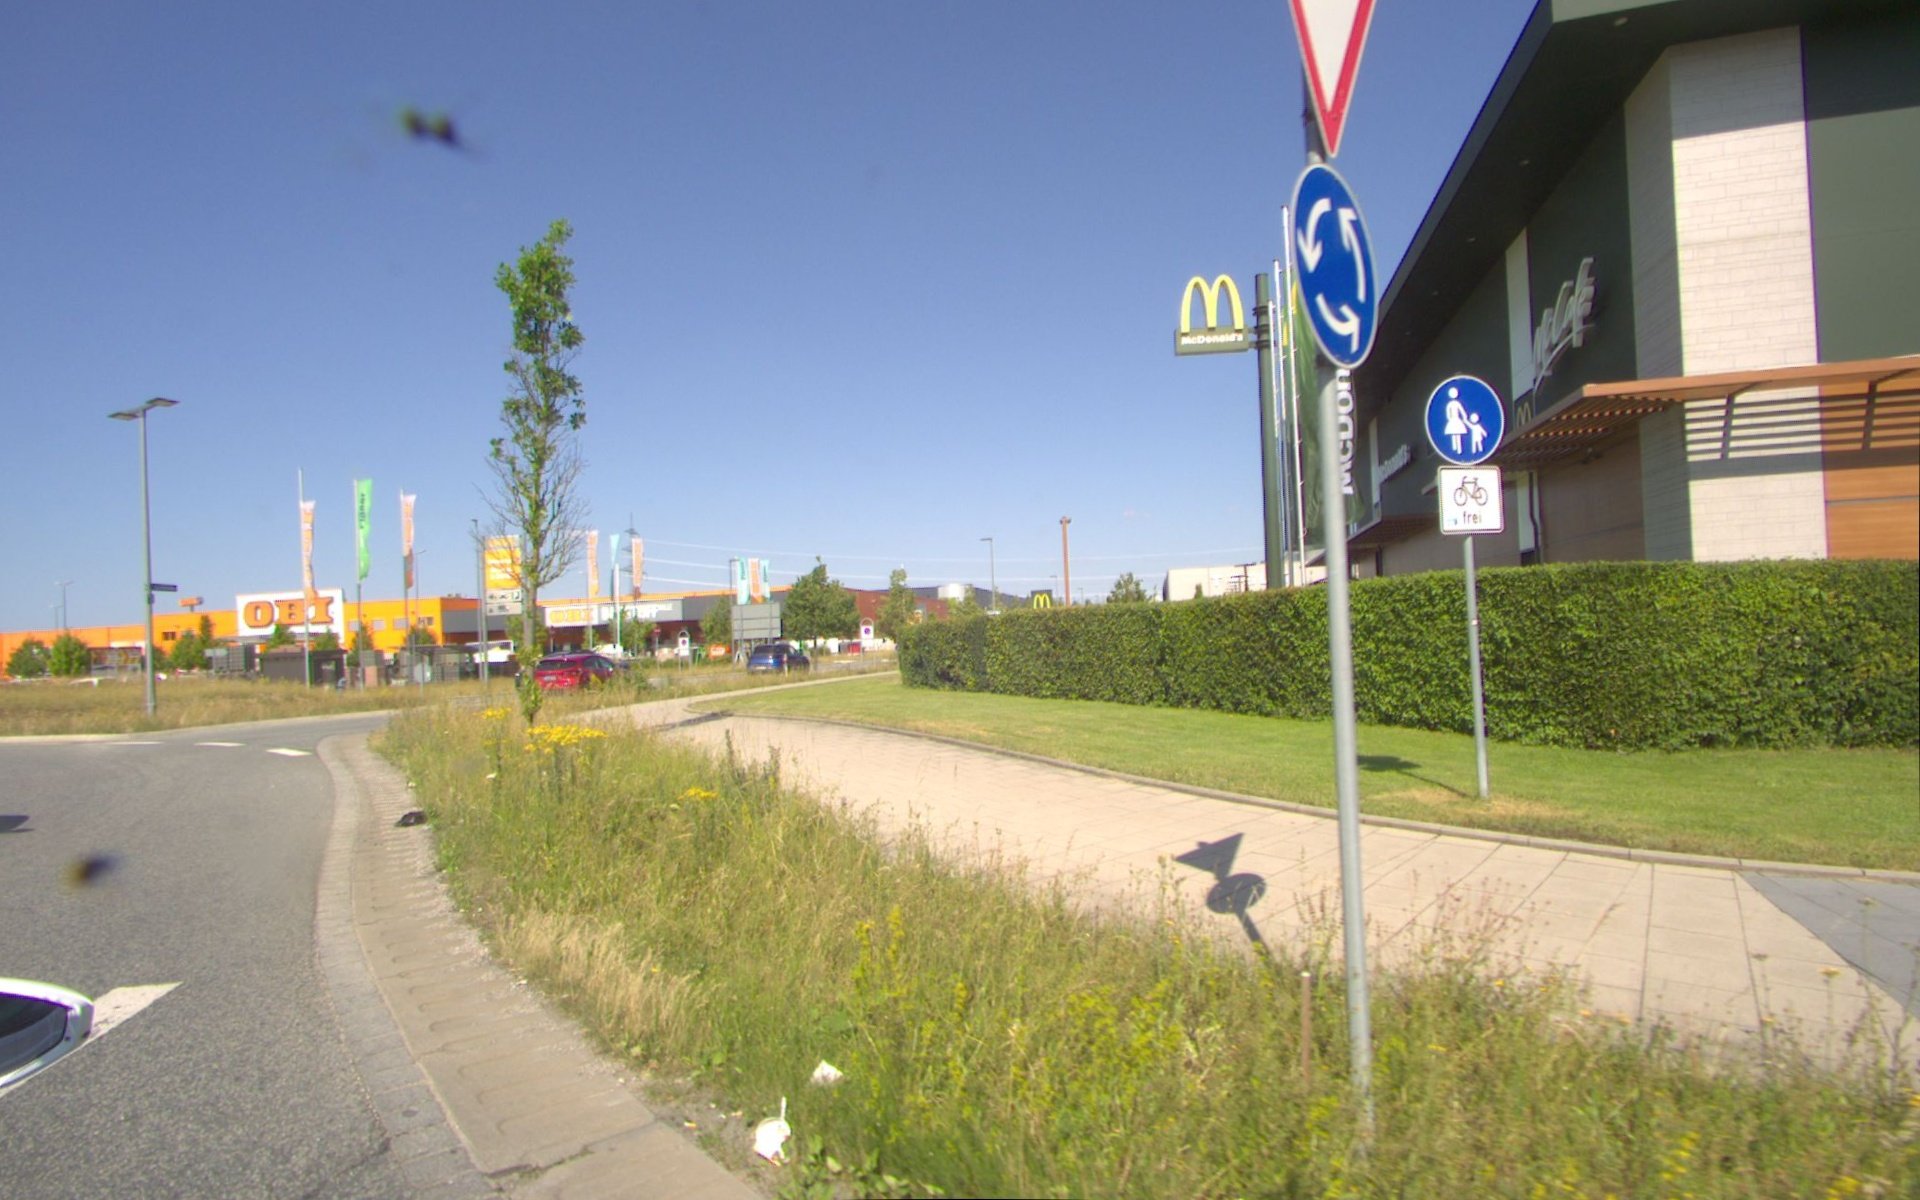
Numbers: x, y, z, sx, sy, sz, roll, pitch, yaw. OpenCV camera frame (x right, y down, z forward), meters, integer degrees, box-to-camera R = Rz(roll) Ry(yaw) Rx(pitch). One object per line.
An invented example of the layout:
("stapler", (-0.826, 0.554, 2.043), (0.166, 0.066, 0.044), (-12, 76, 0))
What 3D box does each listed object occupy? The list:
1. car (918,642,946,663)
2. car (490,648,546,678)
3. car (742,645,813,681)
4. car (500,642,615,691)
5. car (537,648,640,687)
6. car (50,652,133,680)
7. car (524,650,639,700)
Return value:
("car", (-2.152, 4.063, 77.534), (1.486, 1.459, 3.350), (-2, -2, 11))
("car", (-29.663, 4.228, 67.296), (1.668, 1.863, 3.776), (-3, -4, 10))
("car", (-8.820, 3.024, 48.810), (1.823, 1.656, 4.078), (-2, -3, 15))
("car", (-16.403, 2.679, 41.087), (1.922, 1.727, 4.624), (-4, -3, 15))
("car", (-19.092, 3.453, 51.466), (4.616, 1.647, 2.075), (-4, -2, 19))
("car", (-59.656, 4.525, 68.832), (3.922, 1.638, 2.001), (-2, -2, 0))
("car", (-12.161, 2.371, 32.438), (1.773, 1.434, 4.118), (-1, -2, 7))
